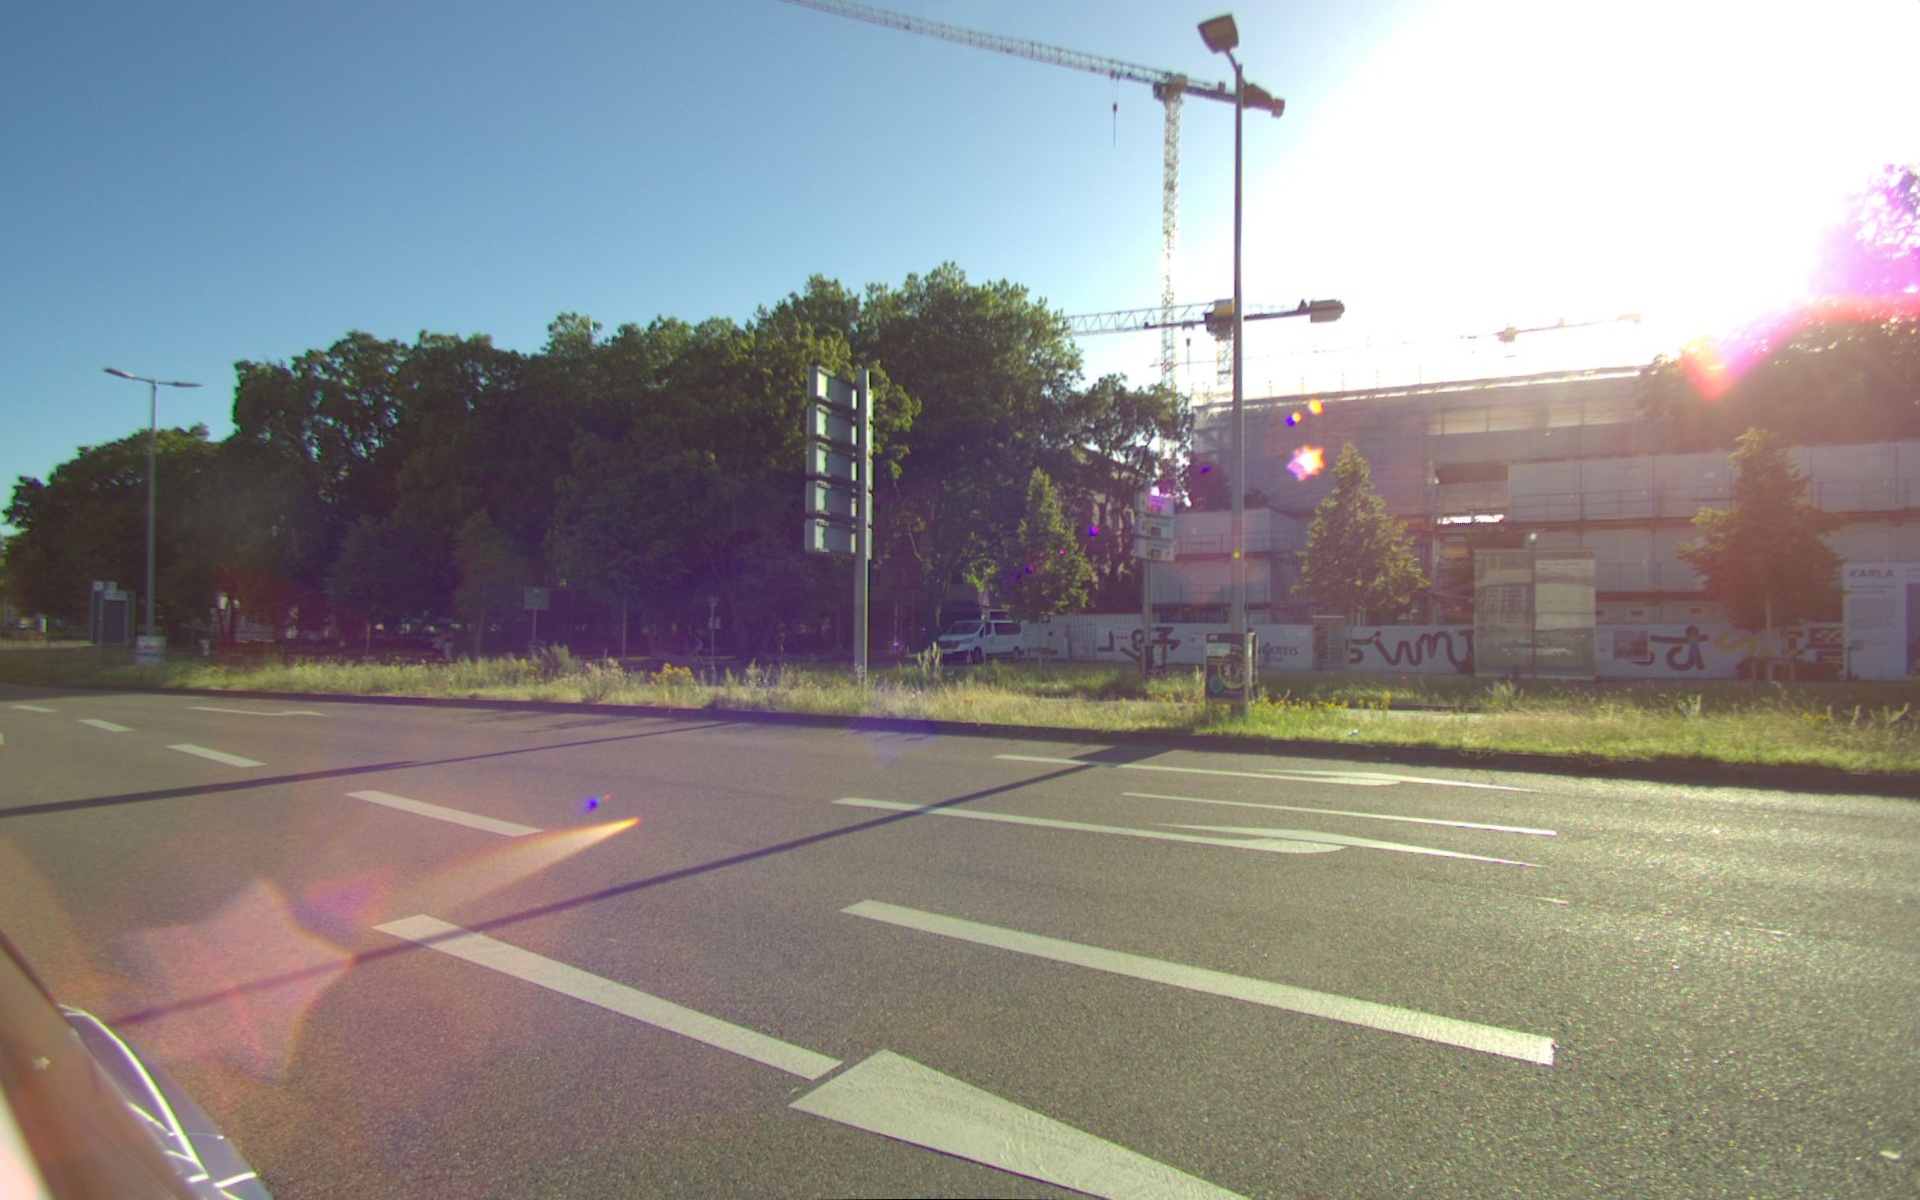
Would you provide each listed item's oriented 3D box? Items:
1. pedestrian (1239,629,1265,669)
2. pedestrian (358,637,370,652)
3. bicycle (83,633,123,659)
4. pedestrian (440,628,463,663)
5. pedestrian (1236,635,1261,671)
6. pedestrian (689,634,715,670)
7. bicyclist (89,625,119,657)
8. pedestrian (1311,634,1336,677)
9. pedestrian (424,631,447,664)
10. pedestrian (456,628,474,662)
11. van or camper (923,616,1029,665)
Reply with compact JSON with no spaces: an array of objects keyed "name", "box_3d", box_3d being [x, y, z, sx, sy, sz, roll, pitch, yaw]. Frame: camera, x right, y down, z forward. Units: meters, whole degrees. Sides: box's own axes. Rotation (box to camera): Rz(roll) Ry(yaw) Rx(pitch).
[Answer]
[{"name":"pedestrian","box_3d":[11.515,1.936,39.903,0.832,1.570,0.575,-2,-3,29]},{"name":"pedestrian","box_3d":[-54.324,4.018,92.174,0.598,1.350,0.725,-1,-3,33]},{"name":"bicycle","box_3d":[-44.805,2.392,52.896,2.247,1.285,0.753,1,-2,27]},{"name":"pedestrian","box_3d":[-26.049,2.338,51.844,0.759,1.754,0.765,-1,-3,34]},{"name":"pedestrian","box_3d":[11.192,2.044,39.270,0.832,1.388,0.575,-2,-3,29]},{"name":"pedestrian","box_3d":[-11.019,2.229,43.281,0.940,1.539,0.607,-2,-3,36]},{"name":"bicyclist","box_3d":[-44.725,2.148,52.873,1.196,1.602,0.742,1,-2,27]},{"name":"pedestrian","box_3d":[14.485,2.197,40.348,0.832,1.701,0.575,-2,-3,29]},{"name":"pedestrian","box_3d":[-26.449,2.404,51.018,0.724,1.653,0.736,-1,-3,34]},{"name":"pedestrian","box_3d":[-25.628,2.333,52.387,0.653,1.754,0.519,-1,-3,34]},{"name":"van or camper","box_3d":[0.842,1.869,46.136,2.250,2.029,5.620,1,-2,32]}]
